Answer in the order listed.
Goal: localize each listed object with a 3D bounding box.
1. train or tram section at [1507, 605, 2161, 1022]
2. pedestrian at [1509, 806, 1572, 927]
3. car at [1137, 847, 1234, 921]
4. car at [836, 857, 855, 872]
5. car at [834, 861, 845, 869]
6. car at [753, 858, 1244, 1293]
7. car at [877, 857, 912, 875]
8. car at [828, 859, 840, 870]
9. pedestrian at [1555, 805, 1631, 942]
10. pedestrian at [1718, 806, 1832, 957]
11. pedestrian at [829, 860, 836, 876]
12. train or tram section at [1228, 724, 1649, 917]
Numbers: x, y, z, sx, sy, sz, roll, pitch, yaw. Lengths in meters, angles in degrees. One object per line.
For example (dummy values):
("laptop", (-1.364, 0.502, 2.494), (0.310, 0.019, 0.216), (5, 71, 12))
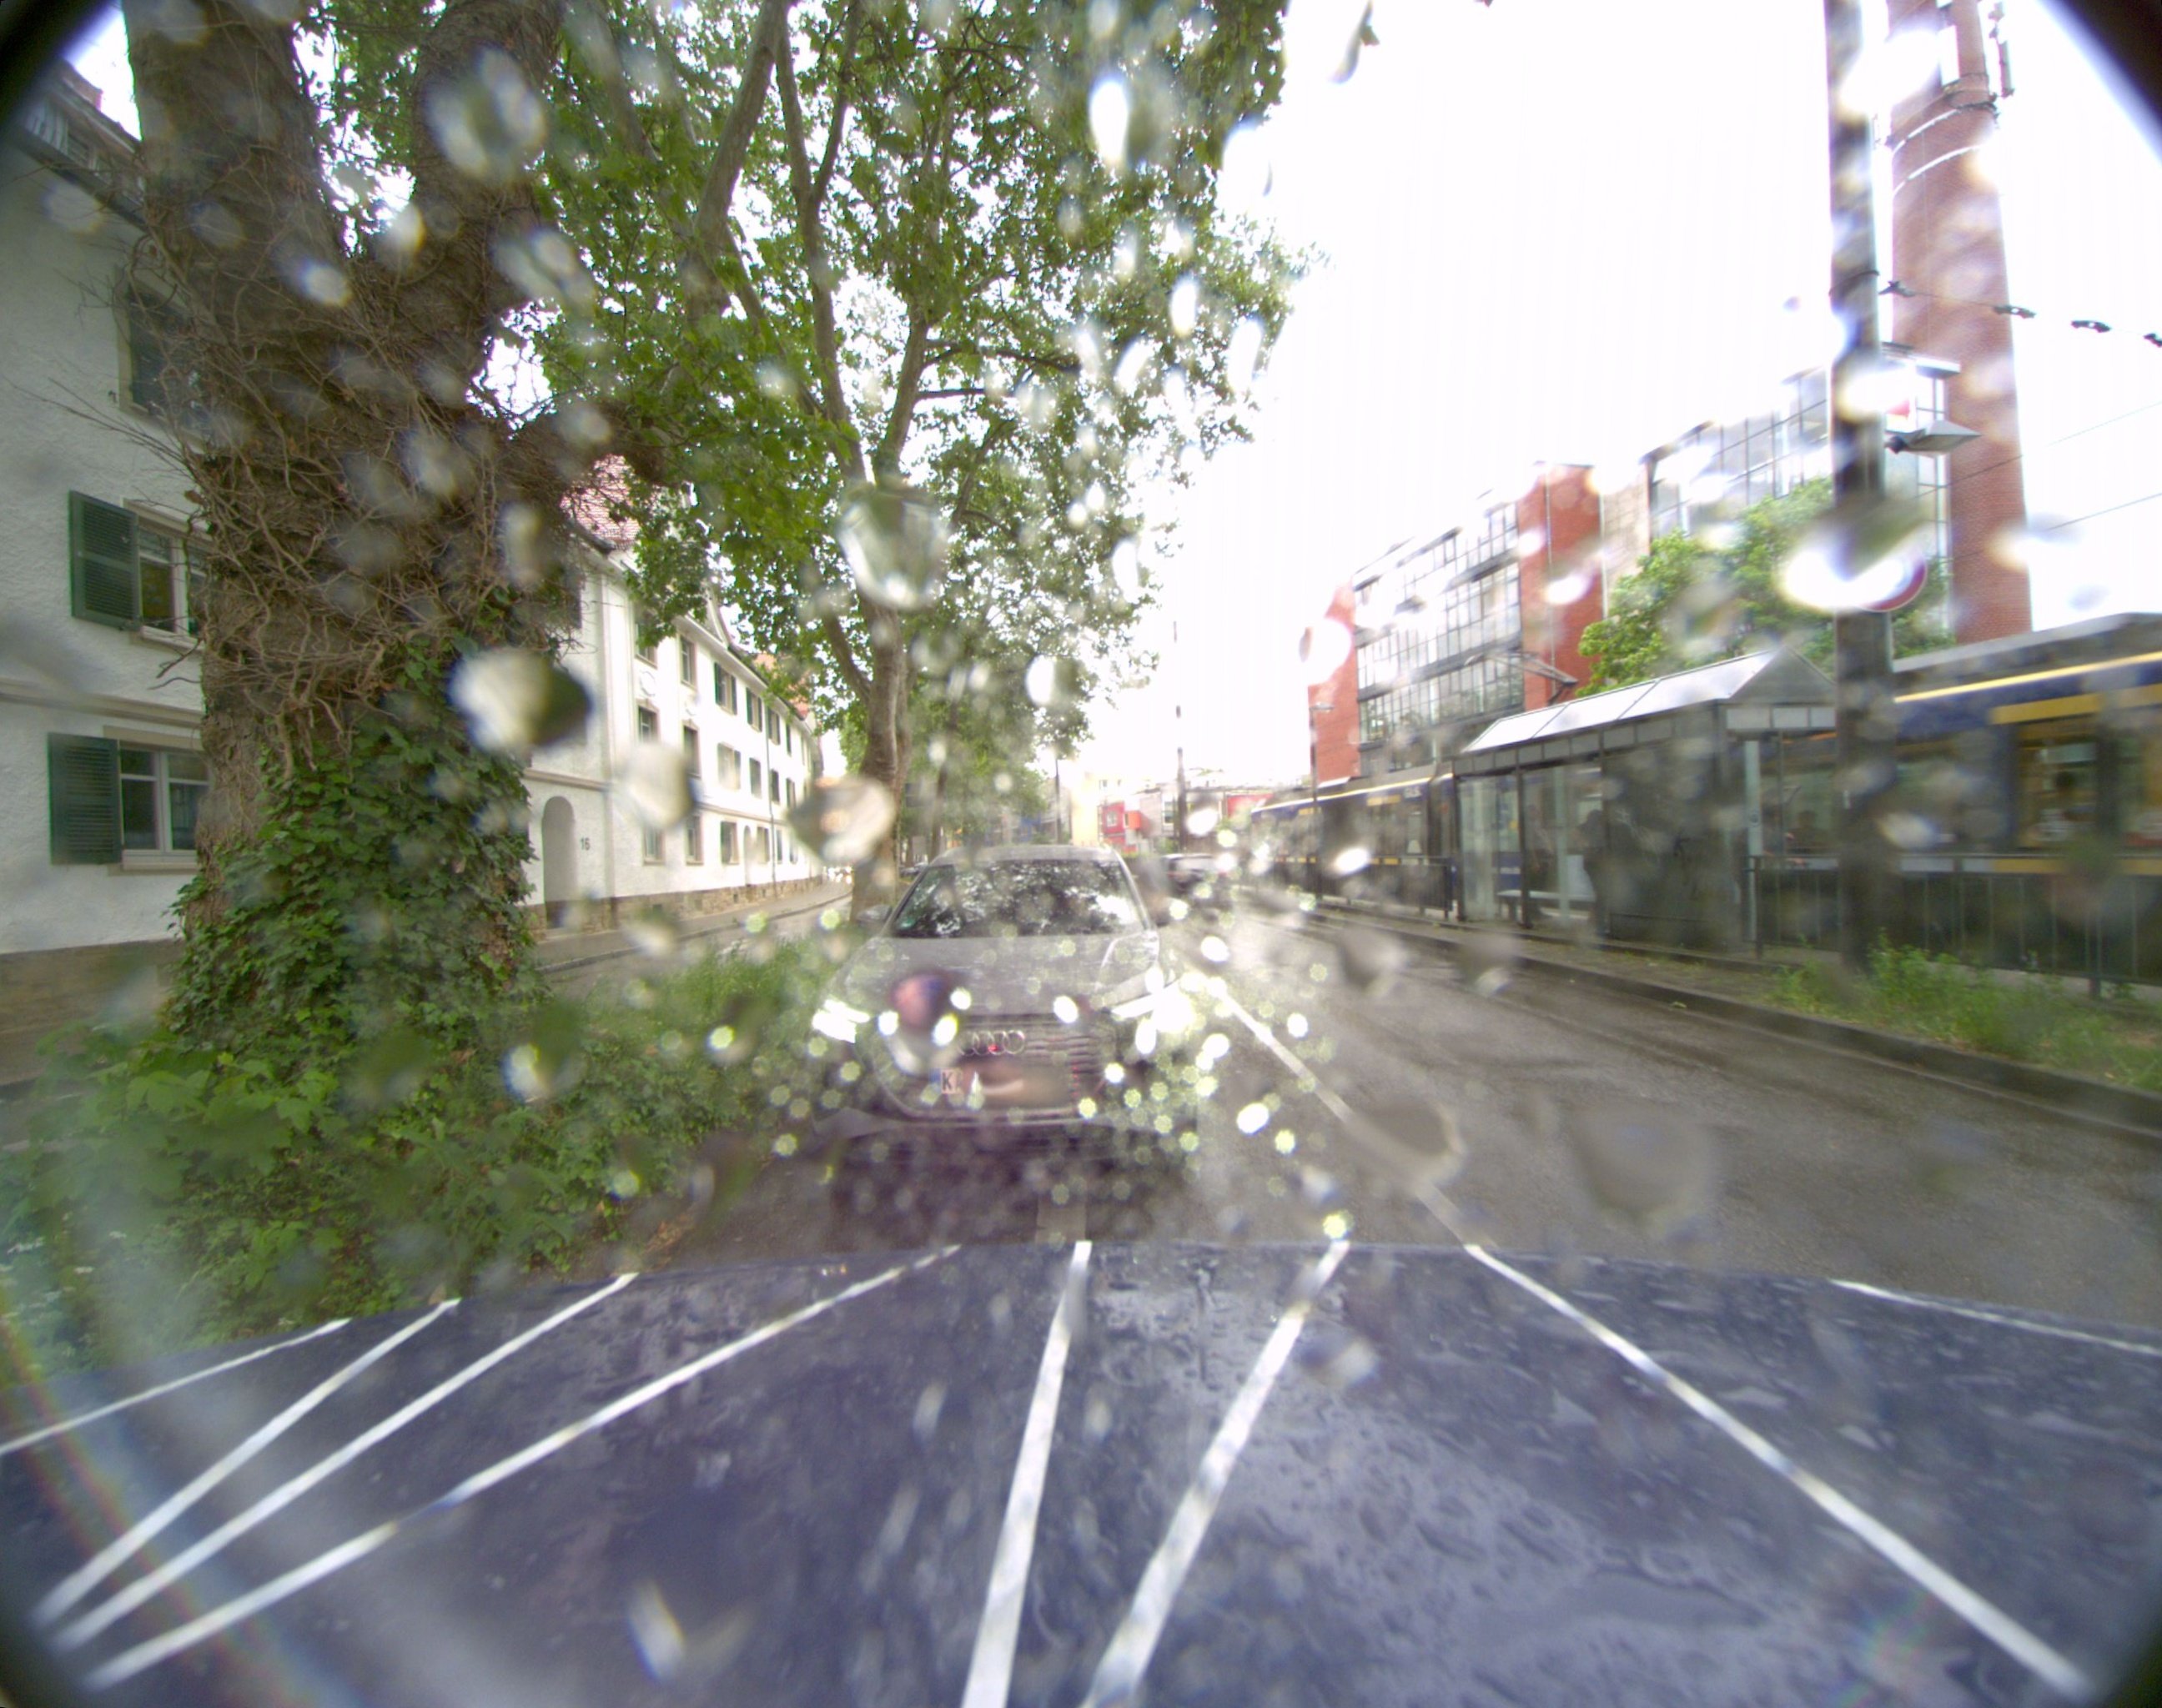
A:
("train or tram section", (10.424, -0.391, 7.454), (2.869, 3.525, 13.704), (-2, 0, -9))
("pedestrian", (6.818, 0.180, 11.295), (0.629, 1.738, 0.514), (-2, 1, 9))
("car", (2.497, 0.664, 19.133), (1.756, 1.582, 4.234), (-2, 0, -1))
("car", (-37.767, 1.634, 121.918), (2.199, 2.250, 5.401), (-3, 0, -24))
("car", (-45.374, 2.073, 142.781), (1.834, 1.517, 3.993), (-2, 1, -19))
("car", (-0.385, 0.899, 5.124), (1.917, 1.632, 4.106), (-2, 0, -2))
("car", (-23.218, 1.493, 94.654), (4.002, 2.002, 1.997), (-2, 0, -17))
("car", (-50.786, 2.131, 156.074), (2.002, 2.002, 3.993), (-3, 0, -20))
("pedestrian", (6.760, 0.253, 10.052), (0.629, 1.738, 0.564), (-2, 1, 9))
("pedestrian", (7.555, 0.295, 8.291), (0.798, 1.588, 0.506), (0, -2, -10))
("pedestrian", (-28.399, 1.566, 86.826), (0.674, 1.811, 0.678), (-3, 1, -18))
("train or tram section", (8.237, -0.652, 21.844), (2.869, 3.525, 15.361), (-2, 0, -8))
